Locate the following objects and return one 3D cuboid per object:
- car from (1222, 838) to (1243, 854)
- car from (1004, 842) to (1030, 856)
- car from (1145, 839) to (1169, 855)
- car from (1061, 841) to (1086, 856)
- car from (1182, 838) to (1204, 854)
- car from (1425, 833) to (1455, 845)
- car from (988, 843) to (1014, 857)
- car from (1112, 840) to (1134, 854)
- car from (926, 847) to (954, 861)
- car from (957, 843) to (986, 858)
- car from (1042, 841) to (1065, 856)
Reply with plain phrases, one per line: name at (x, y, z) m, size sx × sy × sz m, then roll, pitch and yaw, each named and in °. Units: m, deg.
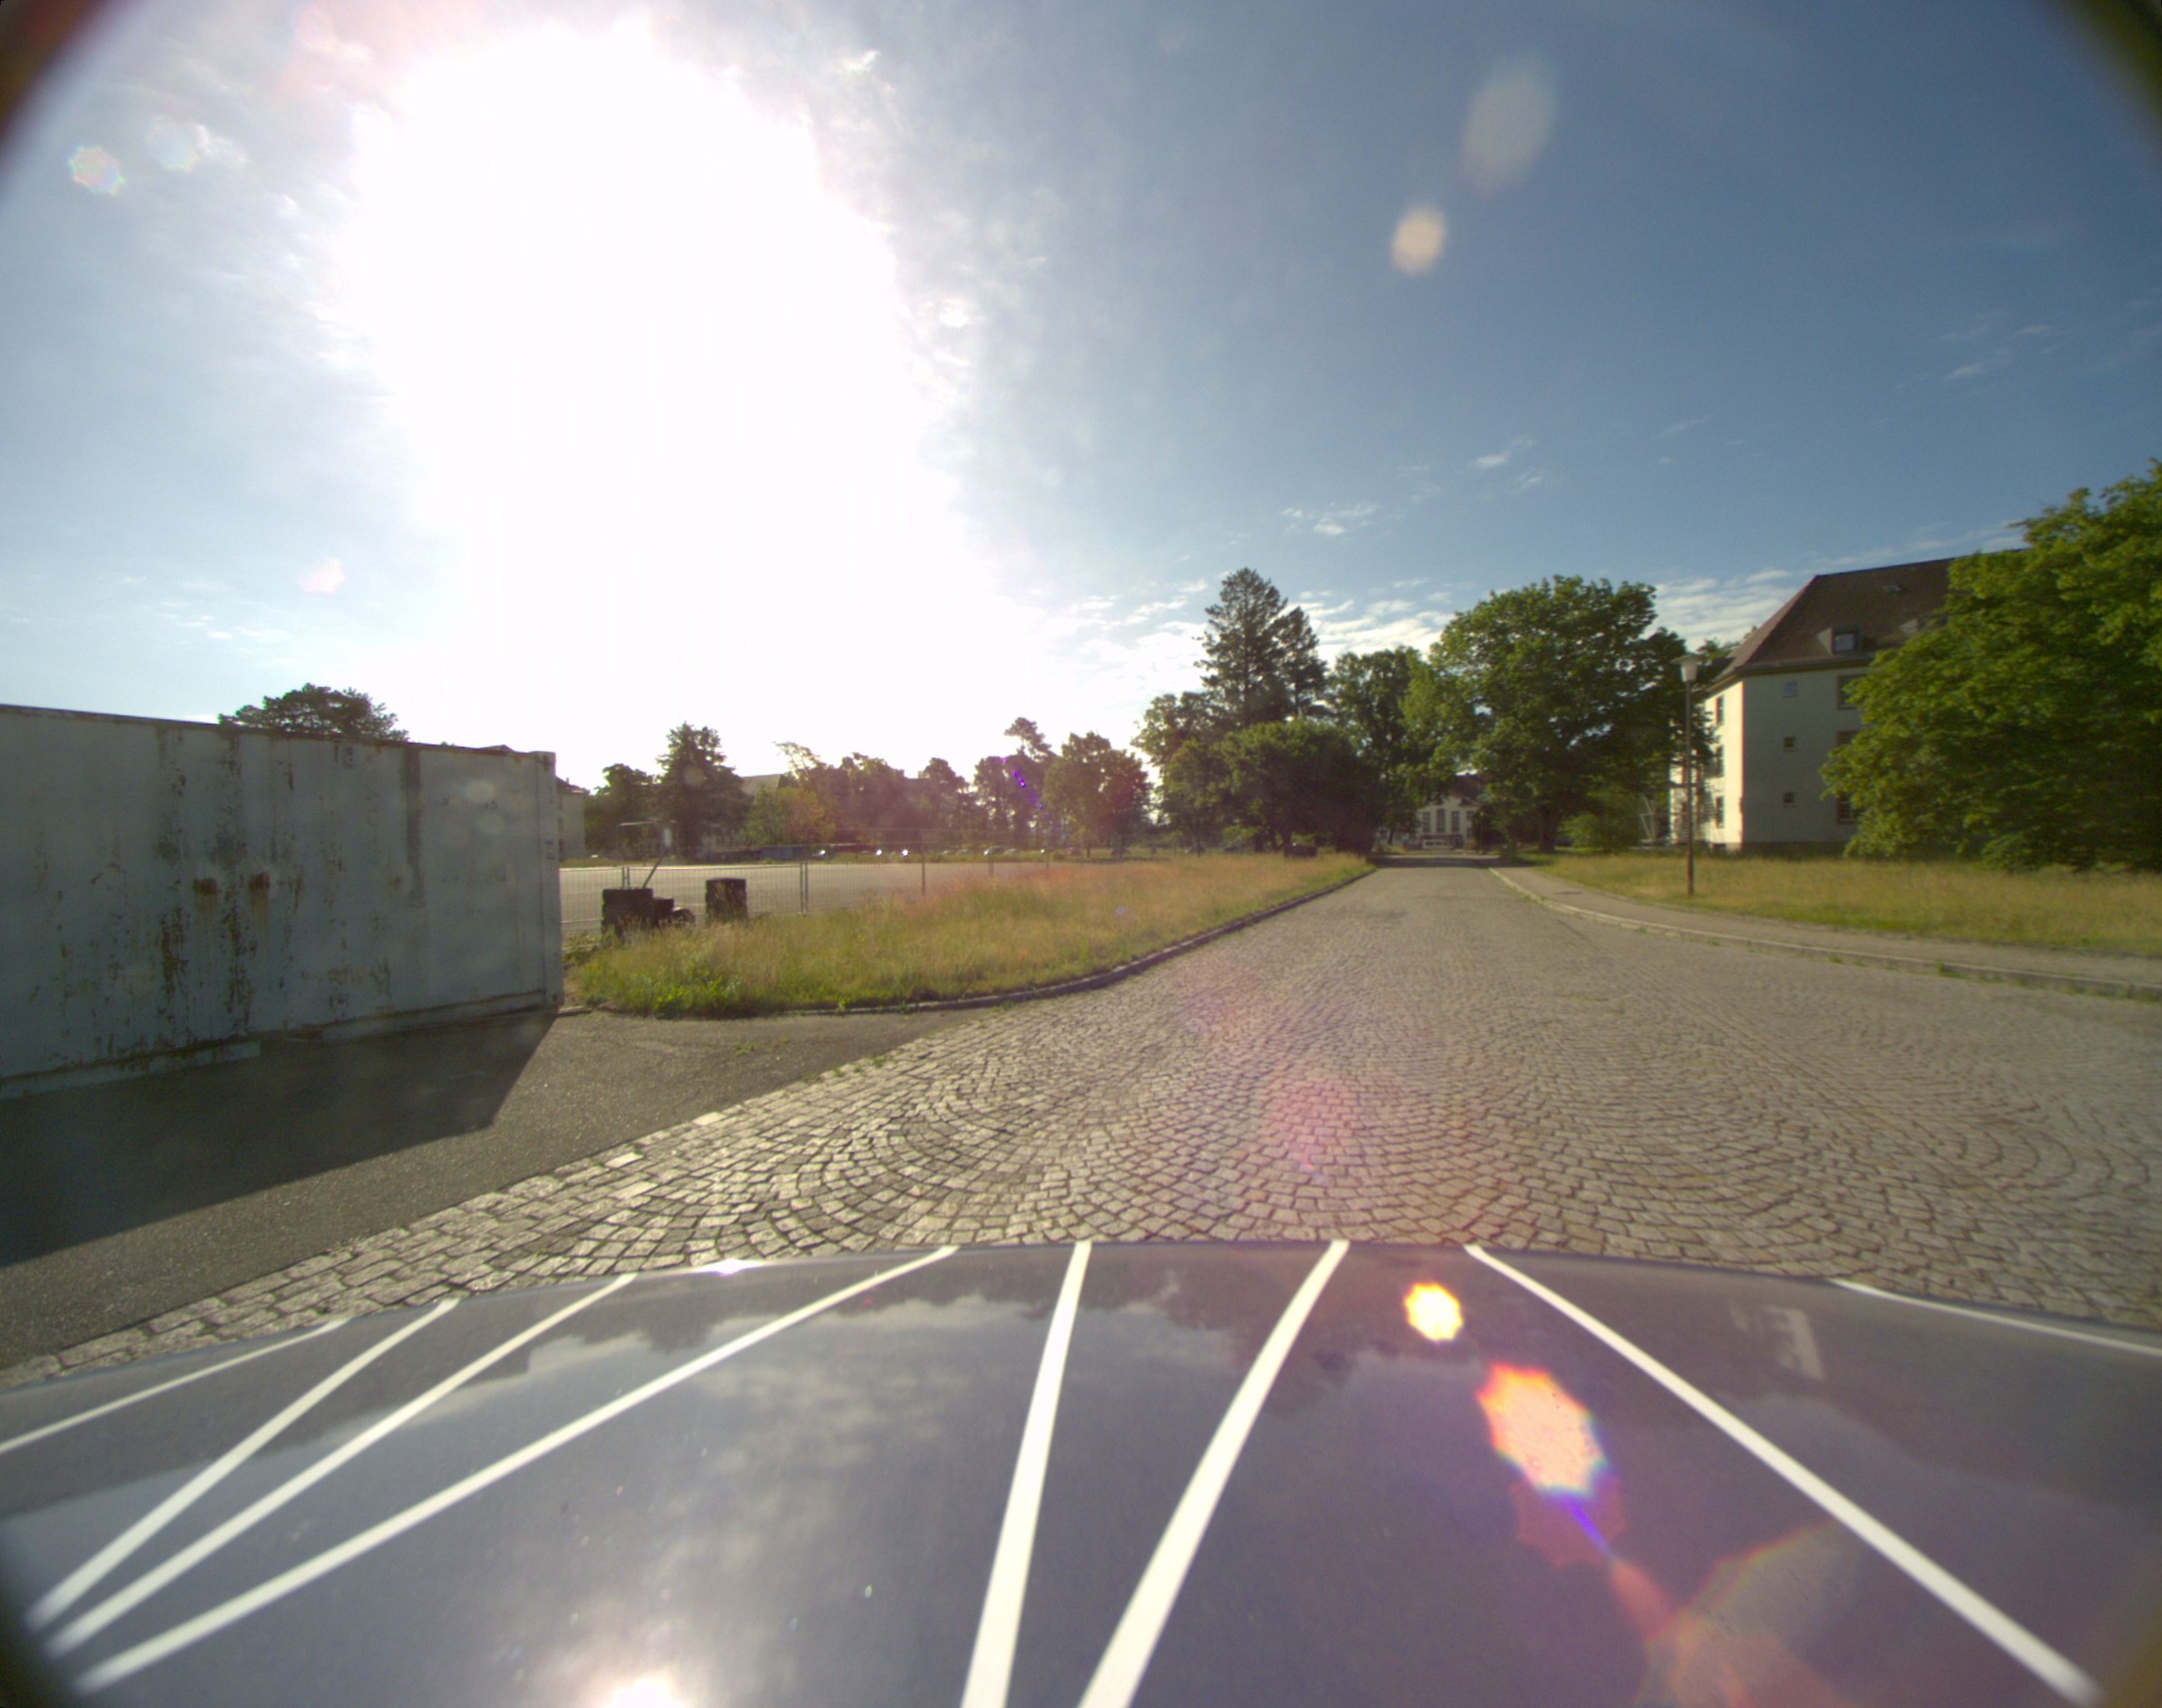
car at (18.991, -1.040, 95.108) m, size 1.996 × 2.002 × 4.005 m, roll -1°, pitch 1°, yaw 19°
car at (-9.143, -0.721, 109.367) m, size 1.995 × 1.937 × 4.006 m, roll 0°, pitch 1°, yaw 23°
car at (10.015, -0.924, 100.370) m, size 1.995 × 2.002 × 4.006 m, roll 0°, pitch 1°, yaw 23°
car at (-1.020, -0.833, 105.317) m, size 1.995 × 2.002 × 4.006 m, roll 0°, pitch 1°, yaw 24°
car at (14.429, -1.018, 97.551) m, size 1.996 × 2.002 × 4.005 m, roll -1°, pitch 1°, yaw 19°
car at (66.854, -2.809, 141.501) m, size 4.861 × 2.084 × 2.003 m, roll -1°, pitch 1°, yaw 25°
car at (-11.586, -0.611, 109.946) m, size 1.995 × 2.002 × 4.006 m, roll 0°, pitch 1°, yaw 23°
car at (5.668, -0.956, 102.022) m, size 1.996 × 1.805 × 4.005 m, roll -1°, pitch 1°, yaw 19°
car at (-21.330, -0.008, 115.135) m, size 1.995 × 2.002 × 4.006 m, roll -4°, pitch 0°, yaw 24°
car at (-16.194, -0.475, 112.652) m, size 1.995 × 2.002 × 4.007 m, roll -4°, pitch 0°, yaw 32°
car at (-3.817, -0.777, 106.304) m, size 1.996 × 2.002 × 4.004 m, roll -1°, pitch 1°, yaw 17°
